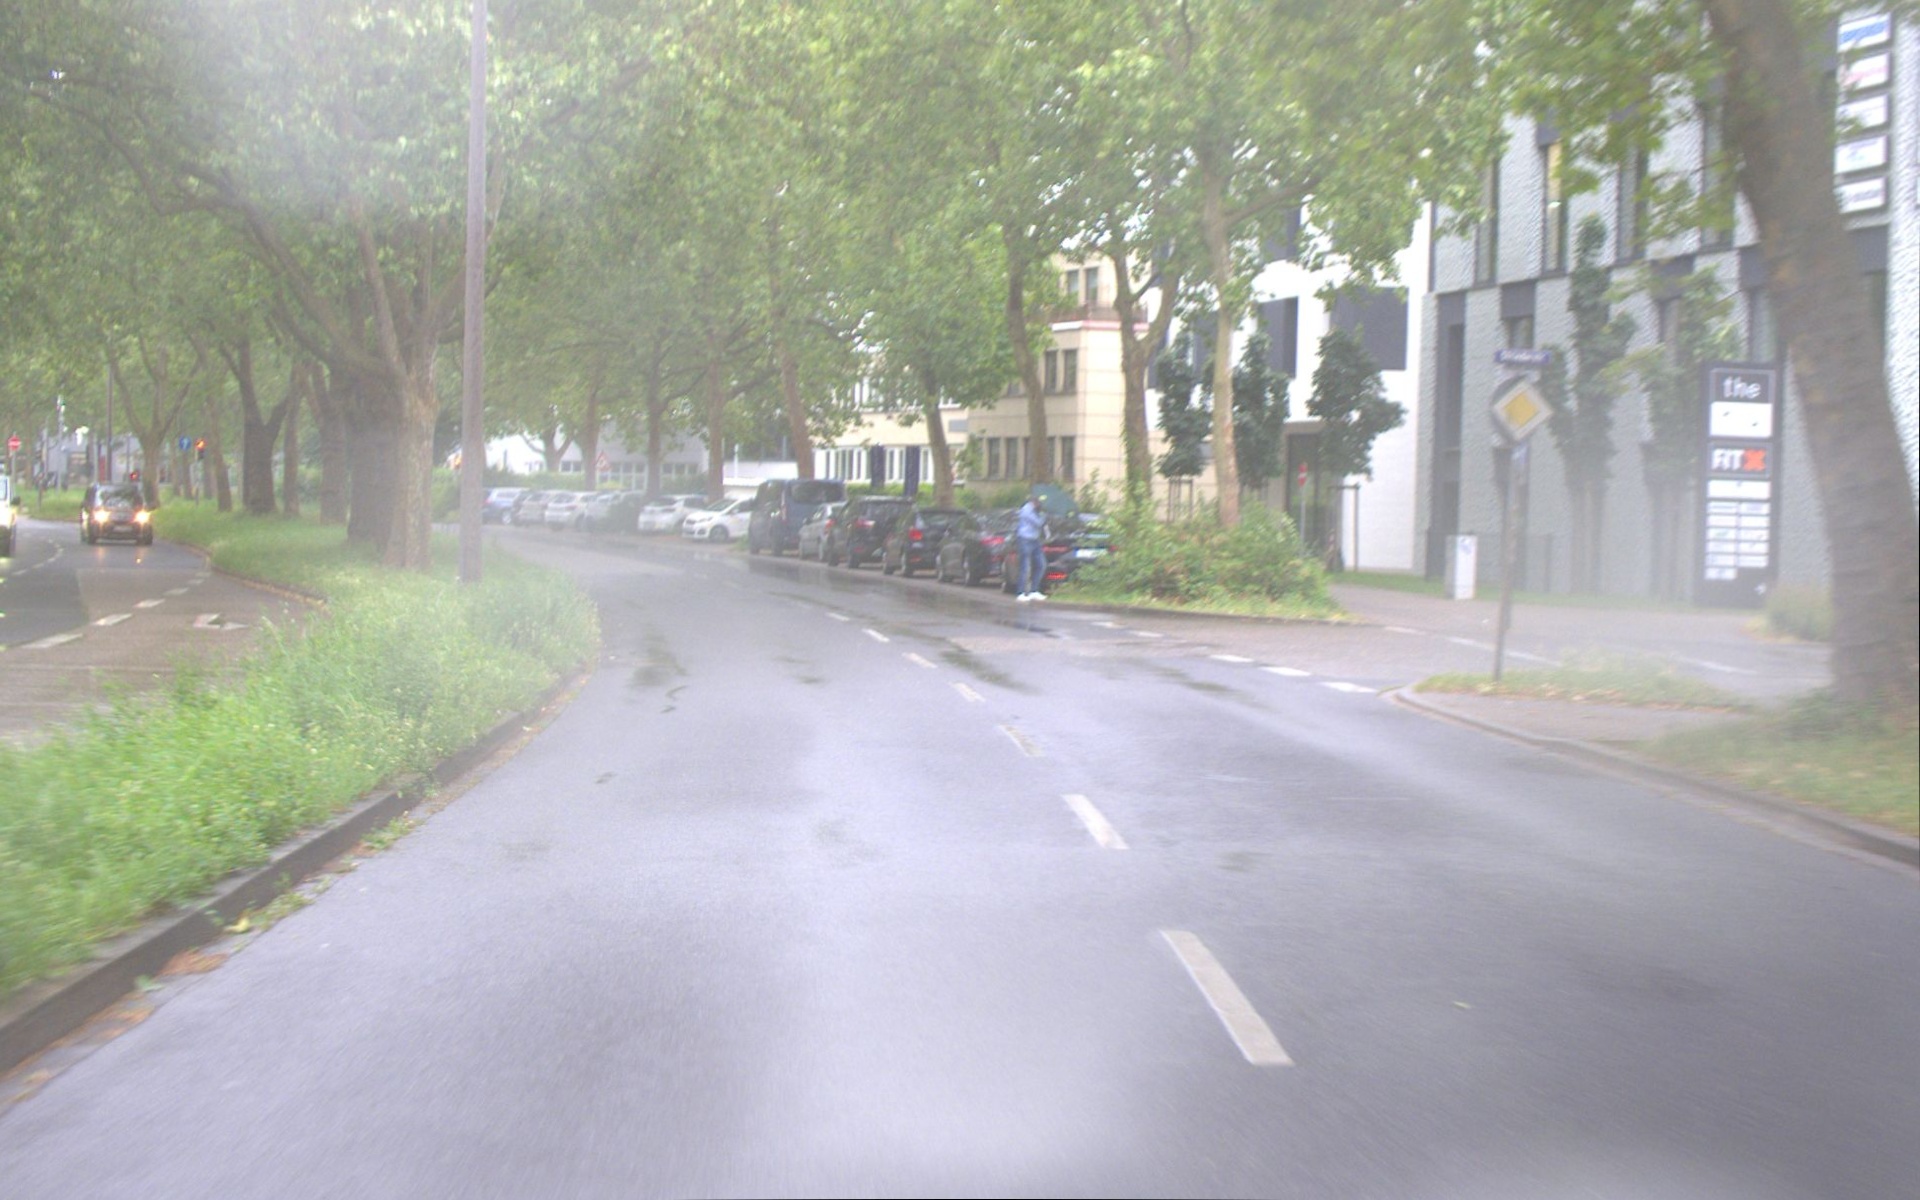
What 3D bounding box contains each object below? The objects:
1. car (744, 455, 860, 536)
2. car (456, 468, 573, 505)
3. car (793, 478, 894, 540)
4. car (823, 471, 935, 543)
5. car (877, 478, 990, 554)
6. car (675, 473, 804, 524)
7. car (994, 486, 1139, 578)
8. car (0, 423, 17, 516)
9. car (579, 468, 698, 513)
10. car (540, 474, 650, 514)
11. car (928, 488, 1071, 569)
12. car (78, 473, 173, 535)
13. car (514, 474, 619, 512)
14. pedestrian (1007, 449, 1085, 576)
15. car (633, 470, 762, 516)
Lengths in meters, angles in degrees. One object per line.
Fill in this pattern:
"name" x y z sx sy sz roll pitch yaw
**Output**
"car" -4.153 -2.740 89.450 2.120 2.021 5.530 0 2 -12
"car" -18.033 -4.589 139.253 4.484 1.453 1.748 -1 3 -43
"car" -2.883 -2.248 84.268 1.743 1.464 4.308 0 2 -12
"car" -1.856 -2.116 77.517 1.743 1.561 4.373 0 2 -12
"car" -0.576 -1.743 70.597 1.743 1.471 4.084 1 2 -9
"car" -6.876 -3.177 107.258 3.635 1.499 1.749 -1 4 -31
"car" 1.750 -1.183 58.172 1.743 1.423 4.861 -2 2 -6
"car" -24.276 -3.213 84.335 2.029 2.218 5.436 0 2 -13
"car" -11.219 -3.826 120.295 1.748 1.533 4.029 3 3 41
"car" -13.278 -3.857 125.111 3.683 1.411 1.748 -1 3 -43
"car" 0.700 -1.367 64.645 1.743 1.423 5.106 0 2 -10
"car" -24.141 -2.791 99.340 2.029 1.730 4.956 0 2 -21
"car" -14.925 -4.049 130.411 1.774 1.411 3.683 3 3 43
"pedestrian" 1.380 -1.411 55.145 0.833 2.006 0.897 3 3 45
"car" -8.500 -3.451 111.347 1.748 1.423 4.028 3 3 43
